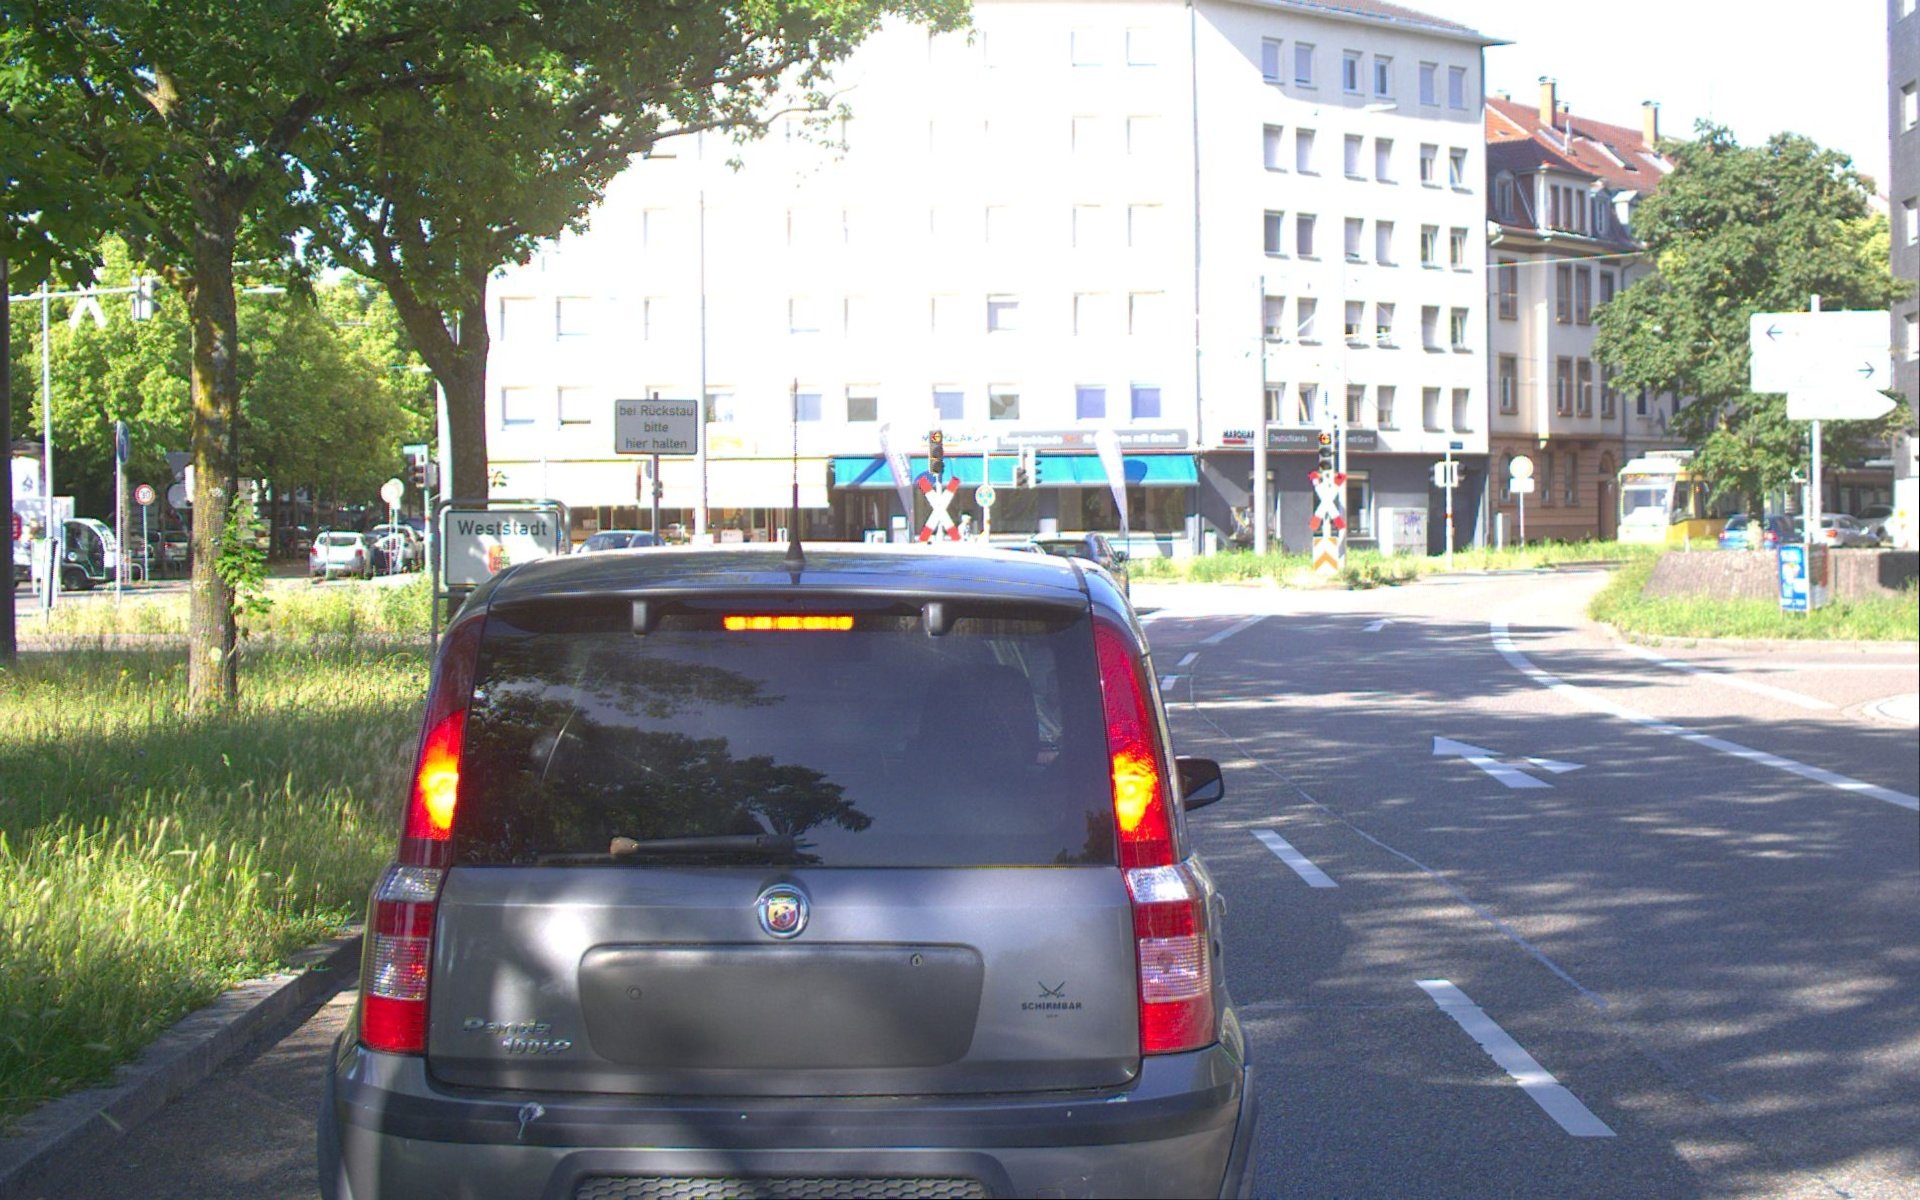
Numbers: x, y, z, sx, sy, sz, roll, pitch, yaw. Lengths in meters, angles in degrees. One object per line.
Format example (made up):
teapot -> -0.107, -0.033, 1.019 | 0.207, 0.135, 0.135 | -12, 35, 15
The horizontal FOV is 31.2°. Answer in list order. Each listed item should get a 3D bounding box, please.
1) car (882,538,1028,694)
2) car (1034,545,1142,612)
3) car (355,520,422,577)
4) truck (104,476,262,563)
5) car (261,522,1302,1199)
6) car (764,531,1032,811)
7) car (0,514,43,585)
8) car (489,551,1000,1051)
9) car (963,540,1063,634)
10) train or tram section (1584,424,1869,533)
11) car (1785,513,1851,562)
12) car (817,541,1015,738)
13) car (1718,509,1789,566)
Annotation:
car -> -0.061, 0.123, 33.864 | 1.356, 1.444, 3.266 | -1, 1, -1
car -> 2.169, -0.368, 57.671 | 1.143, 1.060, 2.719 | 0, 1, 17
car -> -20.519, -1.866, 123.583 | 1.993, 2.007, 4.001 | -1, 1, -4
truck -> -28.884, -2.990, 127.774 | 5.485, 3.158, 2.340 | 0, 1, 28
car -> -0.299, 0.597, 7.419 | 1.628, 1.503, 4.000 | -1, 1, -1
car -> -0.360, 0.355, 20.680 | 1.463, 1.503, 3.505 | 0, 2, -1
car -> -28.546, -1.430, 98.254 | 4.176, 2.007, 1.932 | -1, 1, -2
car -> -0.642, 0.559, 11.641 | 1.463, 1.396, 3.393 | 0, 1, -1
car -> 0.747, -0.211, 49.596 | 1.356, 1.277, 2.876 | 0, 1, -1
train or tram section -> 27.121, -4.196, 120.268 | 3.302, 3.501, 19.349 | 0, 2, 33
car -> 23.447, -1.714, 93.883 | 1.528, 1.310, 3.285 | 0, 2, 18
car -> -0.346, 0.268, 27.286 | 1.463, 1.420, 3.381 | 0, 2, -1
car -> 20.878, -1.656, 90.391 | 1.683, 1.444, 3.569 | 0, 1, 15
